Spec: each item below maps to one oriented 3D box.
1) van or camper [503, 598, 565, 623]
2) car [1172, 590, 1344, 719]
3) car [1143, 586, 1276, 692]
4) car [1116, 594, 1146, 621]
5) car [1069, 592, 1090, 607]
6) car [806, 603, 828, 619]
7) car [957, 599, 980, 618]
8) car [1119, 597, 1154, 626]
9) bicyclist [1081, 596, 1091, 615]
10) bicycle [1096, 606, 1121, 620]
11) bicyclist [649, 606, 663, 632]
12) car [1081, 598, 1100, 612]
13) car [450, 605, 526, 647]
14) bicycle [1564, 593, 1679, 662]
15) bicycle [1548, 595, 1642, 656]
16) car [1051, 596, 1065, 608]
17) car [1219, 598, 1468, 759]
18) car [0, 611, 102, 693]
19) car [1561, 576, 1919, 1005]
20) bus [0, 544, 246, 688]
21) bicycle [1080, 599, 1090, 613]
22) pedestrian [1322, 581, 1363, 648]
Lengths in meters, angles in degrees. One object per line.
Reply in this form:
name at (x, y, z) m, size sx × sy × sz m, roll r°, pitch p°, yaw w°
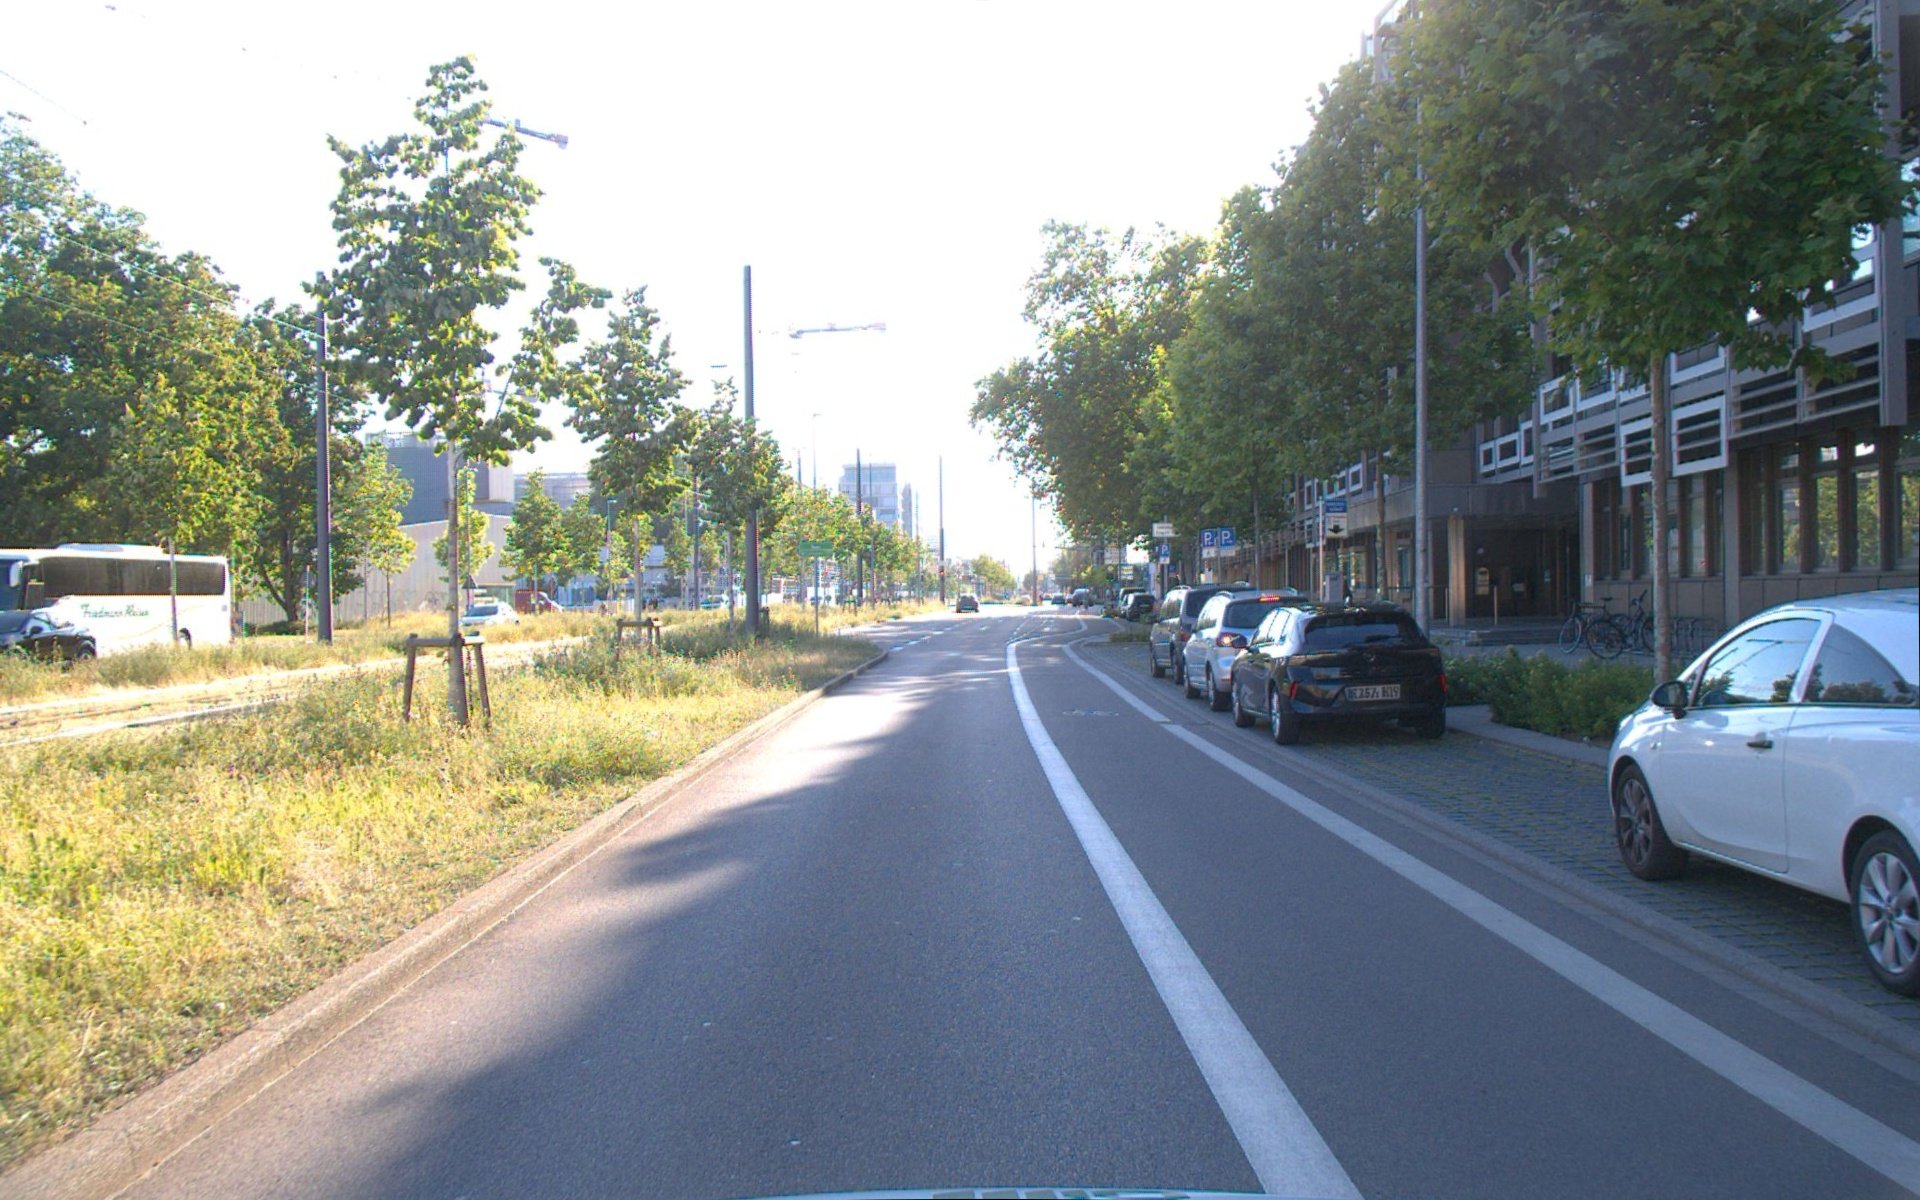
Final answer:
van or camper at (-42.699, 1.033, 165.851) m, size 5.541 × 2.456 × 2.156 m, roll -1°, pitch 0°, yaw 5°
car at (4.272, 0.725, 24.297) m, size 1.693 × 1.650 × 4.216 m, roll -3°, pitch 0°, yaw 0°
car at (4.492, 0.660, 30.429) m, size 1.693 × 1.717 × 4.514 m, roll -3°, pitch 0°, yaw 0°
car at (10.685, 0.471, 103.112) m, size 1.646 × 1.541 × 5.063 m, roll -3°, pitch 0°, yaw 7°
car at (12.131, -0.032, 168.385) m, size 1.900 × 1.453 × 3.926 m, roll -1°, pitch 0°, yaw 1°
car at (-17.008, 1.279, 196.841) m, size 1.952 × 1.807 × 4.002 m, roll -1°, pitch 0°, yaw 3°
car at (0.664, 0.646, 132.117) m, size 1.740 × 1.453 × 4.001 m, roll 0°, pitch 0°, yaw 1°
car at (9.751, 0.615, 91.344) m, size 1.671 × 1.443 × 4.278 m, roll -3°, pitch 0°, yaw 4°
bicyclist at (10.765, 0.490, 140.889) m, size 0.784 × 1.630 × 0.785 m, roll -1°, pitch 0°, yaw 0°
bicycle at (10.557, 0.925, 117.665) m, size 1.656 × 0.882 × 0.573 m, roll -3°, pitch 0°, yaw 12°
bicyclist at (-20.932, 1.324, 113.835) m, size 0.673 × 1.738 × 0.954 m, roll -1°, pitch 0°, yaw 3°
car at (14.708, 0.541, 186.681) m, size 1.900 × 1.511 × 3.926 m, roll -1°, pitch 0°, yaw 1°
car at (-19.894, 1.076, 69.908) m, size 1.953 × 1.671 × 4.167 m, roll -1°, pitch 0°, yaw 1°
bicycle at (11.610, 0.479, 29.052) m, size 1.862 × 1.112 × 0.392 m, roll -2°, pitch 0°, yaw -5°
bicycle at (12.049, 0.482, 31.390) m, size 1.593 × 1.101 × 0.392 m, roll -2°, pitch 0°, yaw 3°
car at (12.865, 0.225, 217.780) m, size 1.722 × 1.511 × 3.850 m, roll -1°, pitch 0°, yaw 1°
car at (4.117, 0.772, 18.469) m, size 1.758 × 1.474 × 4.377 m, roll -3°, pitch 0°, yaw 1°
car at (-20.855, 1.110, 36.172) m, size 1.953 × 1.680 × 4.270 m, roll -1°, pitch 0°, yaw 0°
car at (4.328, 0.677, 7.606) m, size 1.629 × 1.516 × 4.204 m, roll -3°, pitch 0°, yaw 1°
bus at (-25.208, 0.416, 48.543) m, size 2.741 × 3.658 × 12.700 m, roll -1°, pitch 0°, yaw 1°
bicycle at (10.680, 0.521, 141.129) m, size 0.783 × 1.225 × 2.265 m, roll -1°, pitch 0°, yaw 4°
pedestrian at (9.873, 0.372, 42.772) m, size 0.773 × 1.677 × 1.137 m, roll -2°, pitch 0°, yaw 1°
